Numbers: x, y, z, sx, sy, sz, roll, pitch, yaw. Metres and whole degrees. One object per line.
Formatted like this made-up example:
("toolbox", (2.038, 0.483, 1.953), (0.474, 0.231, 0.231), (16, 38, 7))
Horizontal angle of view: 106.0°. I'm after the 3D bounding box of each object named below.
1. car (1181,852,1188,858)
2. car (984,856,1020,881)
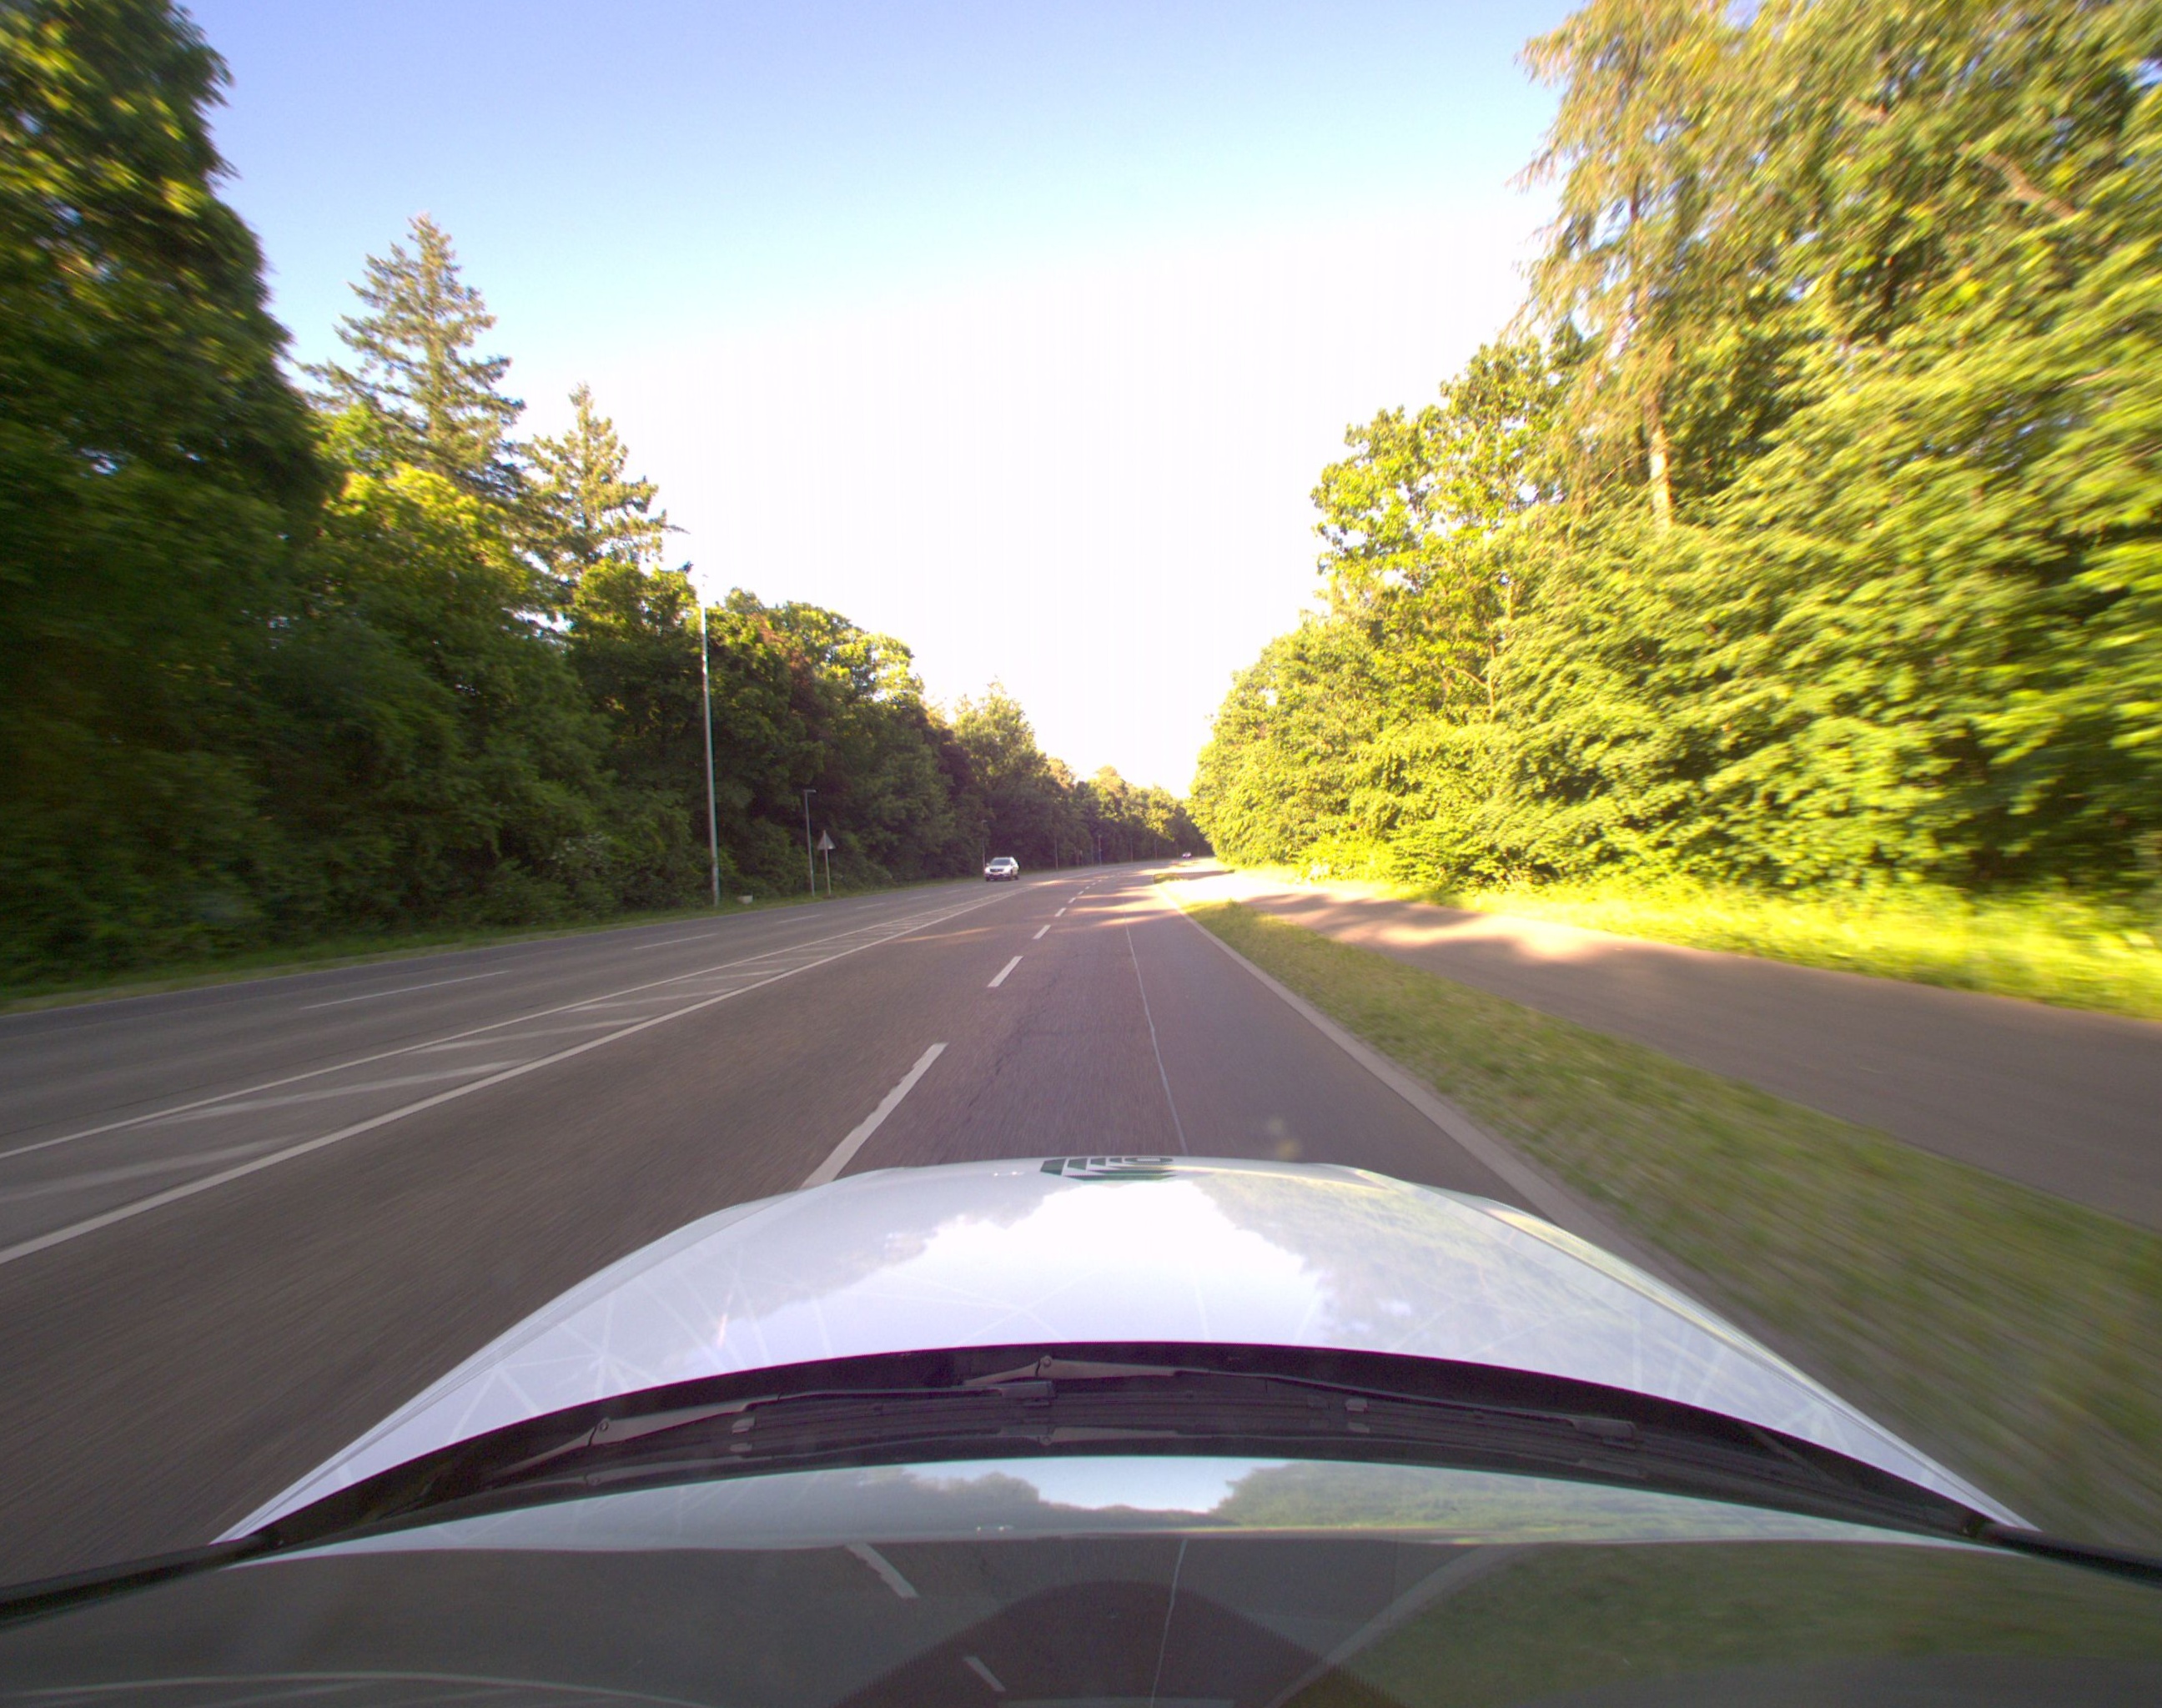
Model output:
("car", (30.100, 0.298, 236.822), (1.983, 1.585, 4.006), (-2, -1, 6))
("car", (-5.591, 0.983, 58.267), (1.901, 1.664, 4.736), (-2, 0, 2))
